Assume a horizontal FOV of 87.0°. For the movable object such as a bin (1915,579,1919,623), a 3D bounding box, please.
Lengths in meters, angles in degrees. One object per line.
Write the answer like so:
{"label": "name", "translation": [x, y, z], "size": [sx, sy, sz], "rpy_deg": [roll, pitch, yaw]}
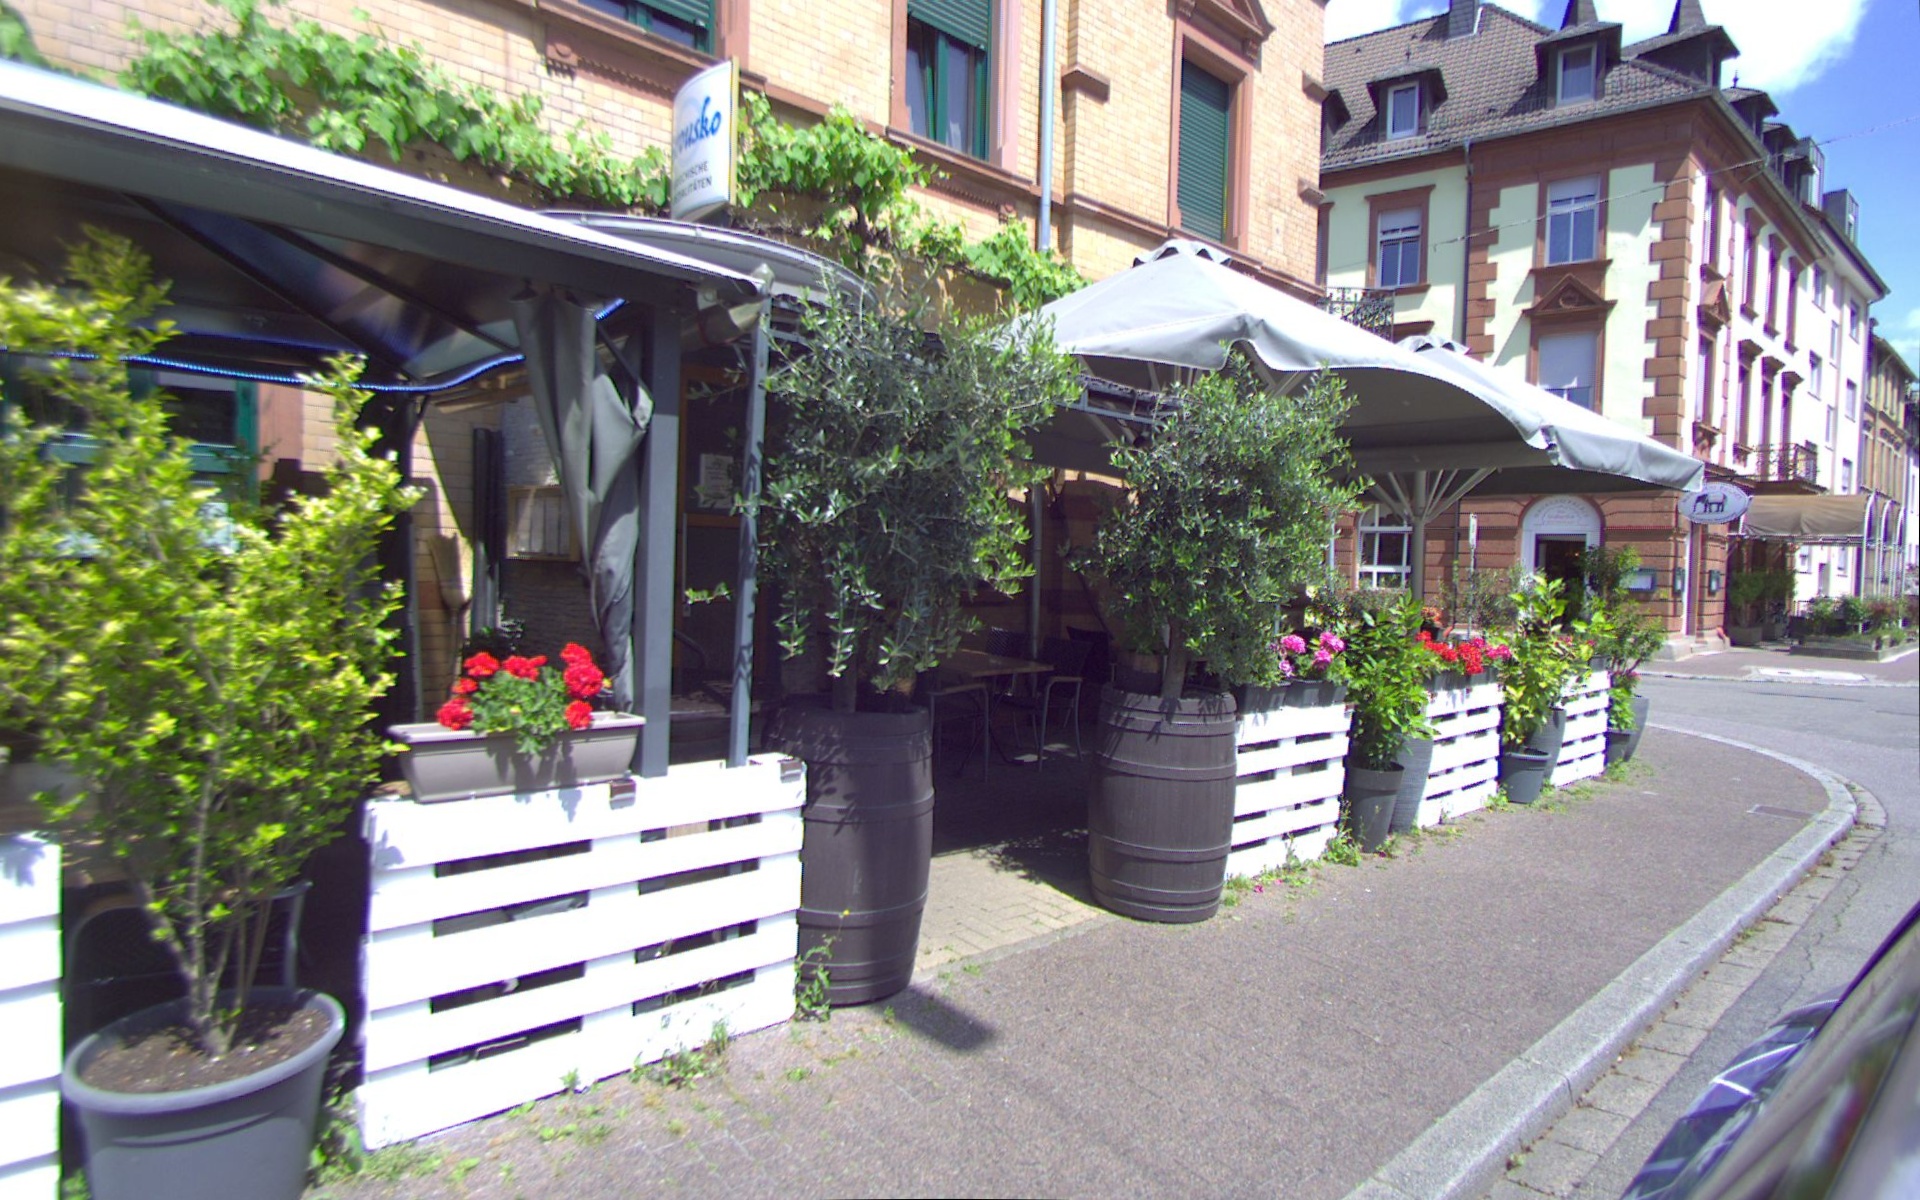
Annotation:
{"label": "movable object such as a bin", "translation": [31.692, 0.054, 32.503], "size": [1.388, 1.413, 1.285], "rpy_deg": [0, 3, -40]}

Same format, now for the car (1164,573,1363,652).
{"label": "car", "translation": [6.846, 0.217, 22.995], "size": [3.976, 1.497, 1.782], "rpy_deg": [3, 5, 36]}

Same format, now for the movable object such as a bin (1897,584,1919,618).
{"label": "movable object such as a bin", "translation": [33.953, 0.045, 36.075], "size": [0.734, 1.182, 0.723], "rpy_deg": [0, 3, -42]}
